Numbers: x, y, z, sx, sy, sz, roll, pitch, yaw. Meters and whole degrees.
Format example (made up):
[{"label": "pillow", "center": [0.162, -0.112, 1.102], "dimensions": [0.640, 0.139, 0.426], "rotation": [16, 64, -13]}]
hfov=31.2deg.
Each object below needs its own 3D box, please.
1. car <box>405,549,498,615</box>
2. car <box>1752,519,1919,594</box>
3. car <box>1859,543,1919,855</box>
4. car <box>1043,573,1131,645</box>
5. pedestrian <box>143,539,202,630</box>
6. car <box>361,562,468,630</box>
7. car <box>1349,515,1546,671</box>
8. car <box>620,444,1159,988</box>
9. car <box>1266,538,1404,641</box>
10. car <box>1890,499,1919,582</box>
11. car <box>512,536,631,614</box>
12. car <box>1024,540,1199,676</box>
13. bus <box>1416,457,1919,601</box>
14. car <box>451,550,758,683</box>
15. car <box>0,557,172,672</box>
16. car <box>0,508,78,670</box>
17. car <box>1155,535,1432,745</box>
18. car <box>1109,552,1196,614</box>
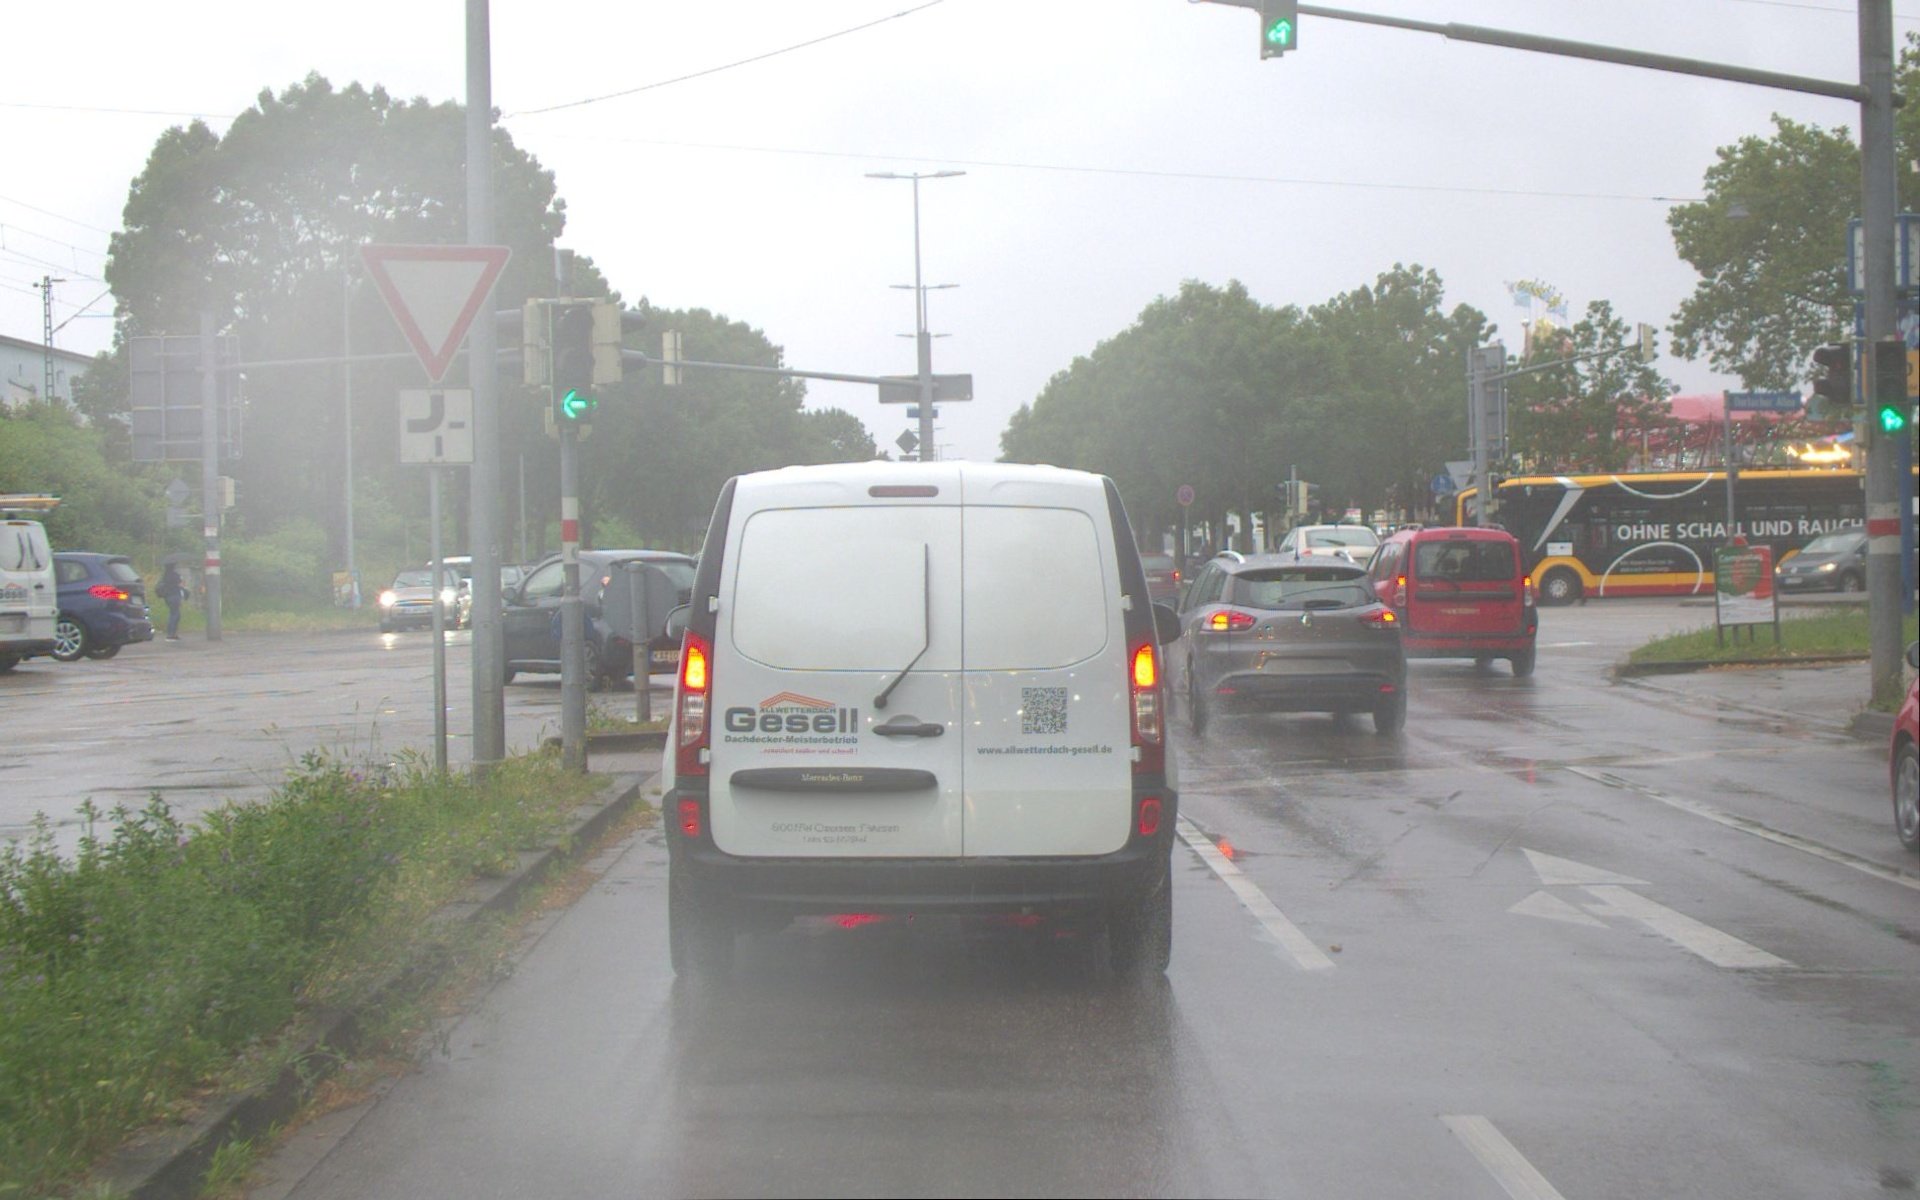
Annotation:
[{"label": "car", "center": [-12.113, -0.452, 82.018], "dimensions": [1.827, 1.477, 4.001], "rotation": [-1, 1, -3]}, {"label": "car", "center": [20.430, -1.017, 79.183], "dimensions": [4.329, 1.645, 1.933], "rotation": [-2, 1, -37]}, {"label": "car", "center": [5.415, 0.486, 15.584], "dimensions": [1.678, 1.486, 3.621], "rotation": [0, 1, -1]}, {"label": "car", "center": [2.954, 0.191, 80.367], "dimensions": [1.993, 1.568, 4.000], "rotation": [-1, 1, 2]}, {"label": "pedestrian", "center": [-14.966, -0.299, 65.342], "dimensions": [1.001, 1.713, 0.820], "rotation": [-1, 1, -9]}, {"label": "car", "center": [-11.983, -0.109, 75.712], "dimensions": [1.892, 1.344, 4.001], "rotation": [-1, 2, -3]}, {"label": "car", "center": [5.408, -0.106, 38.491], "dimensions": [1.632, 1.650, 3.485], "rotation": [1, 1, -1]}, {"label": "car", "center": [-0.259, 0.345, 13.256], "dimensions": [1.756, 1.771, 4.000], "rotation": [0, 1, -1]}, {"label": "car", "center": [6.140, -0.198, 56.653], "dimensions": [1.842, 1.612, 4.000], "rotation": [1, 1, 0]}, {"label": "car", "center": [23.458, -1.398, 77.998], "dimensions": [4.732, 1.842, 2.077], "rotation": [-2, 1, -37]}, {"label": "car", "center": [-8.742, -0.586, 77.630], "dimensions": [2.022, 1.651, 4.061], "rotation": [-1, 1, 3]}, {"label": "car", "center": [1.915, 0.062, 44.574], "dimensions": [1.835, 1.650, 4.001], "rotation": [1, 1, -3]}, {"label": "bus", "center": [17.714, -1.764, 85.368], "dimensions": [12.249, 3.257, 3.275], "rotation": [-1, 1, -1]}, {"label": "car", "center": [-3.811, 0.149, 36.522], "dimensions": [1.578, 1.301, 3.457], "rotation": [-2, 2, -39]}, {"label": "car", "center": [-13.859, 0.215, 50.714], "dimensions": [3.931, 1.613, 2.000], "rotation": [-1, 1, 3]}, {"label": "car", "center": [-13.816, -0.105, 43.363], "dimensions": [4.808, 1.949, 1.999], "rotation": [-1, 2, 16]}, {"label": "car", "center": [2.699, 0.280, 28.630], "dimensions": [1.842, 1.612, 4.000], "rotation": [1, 1, -1]}, {"label": "car", "center": [4.965, -0.453, 89.171], "dimensions": [1.993, 1.555, 4.000], "rotation": [1, 1, 0]}]
